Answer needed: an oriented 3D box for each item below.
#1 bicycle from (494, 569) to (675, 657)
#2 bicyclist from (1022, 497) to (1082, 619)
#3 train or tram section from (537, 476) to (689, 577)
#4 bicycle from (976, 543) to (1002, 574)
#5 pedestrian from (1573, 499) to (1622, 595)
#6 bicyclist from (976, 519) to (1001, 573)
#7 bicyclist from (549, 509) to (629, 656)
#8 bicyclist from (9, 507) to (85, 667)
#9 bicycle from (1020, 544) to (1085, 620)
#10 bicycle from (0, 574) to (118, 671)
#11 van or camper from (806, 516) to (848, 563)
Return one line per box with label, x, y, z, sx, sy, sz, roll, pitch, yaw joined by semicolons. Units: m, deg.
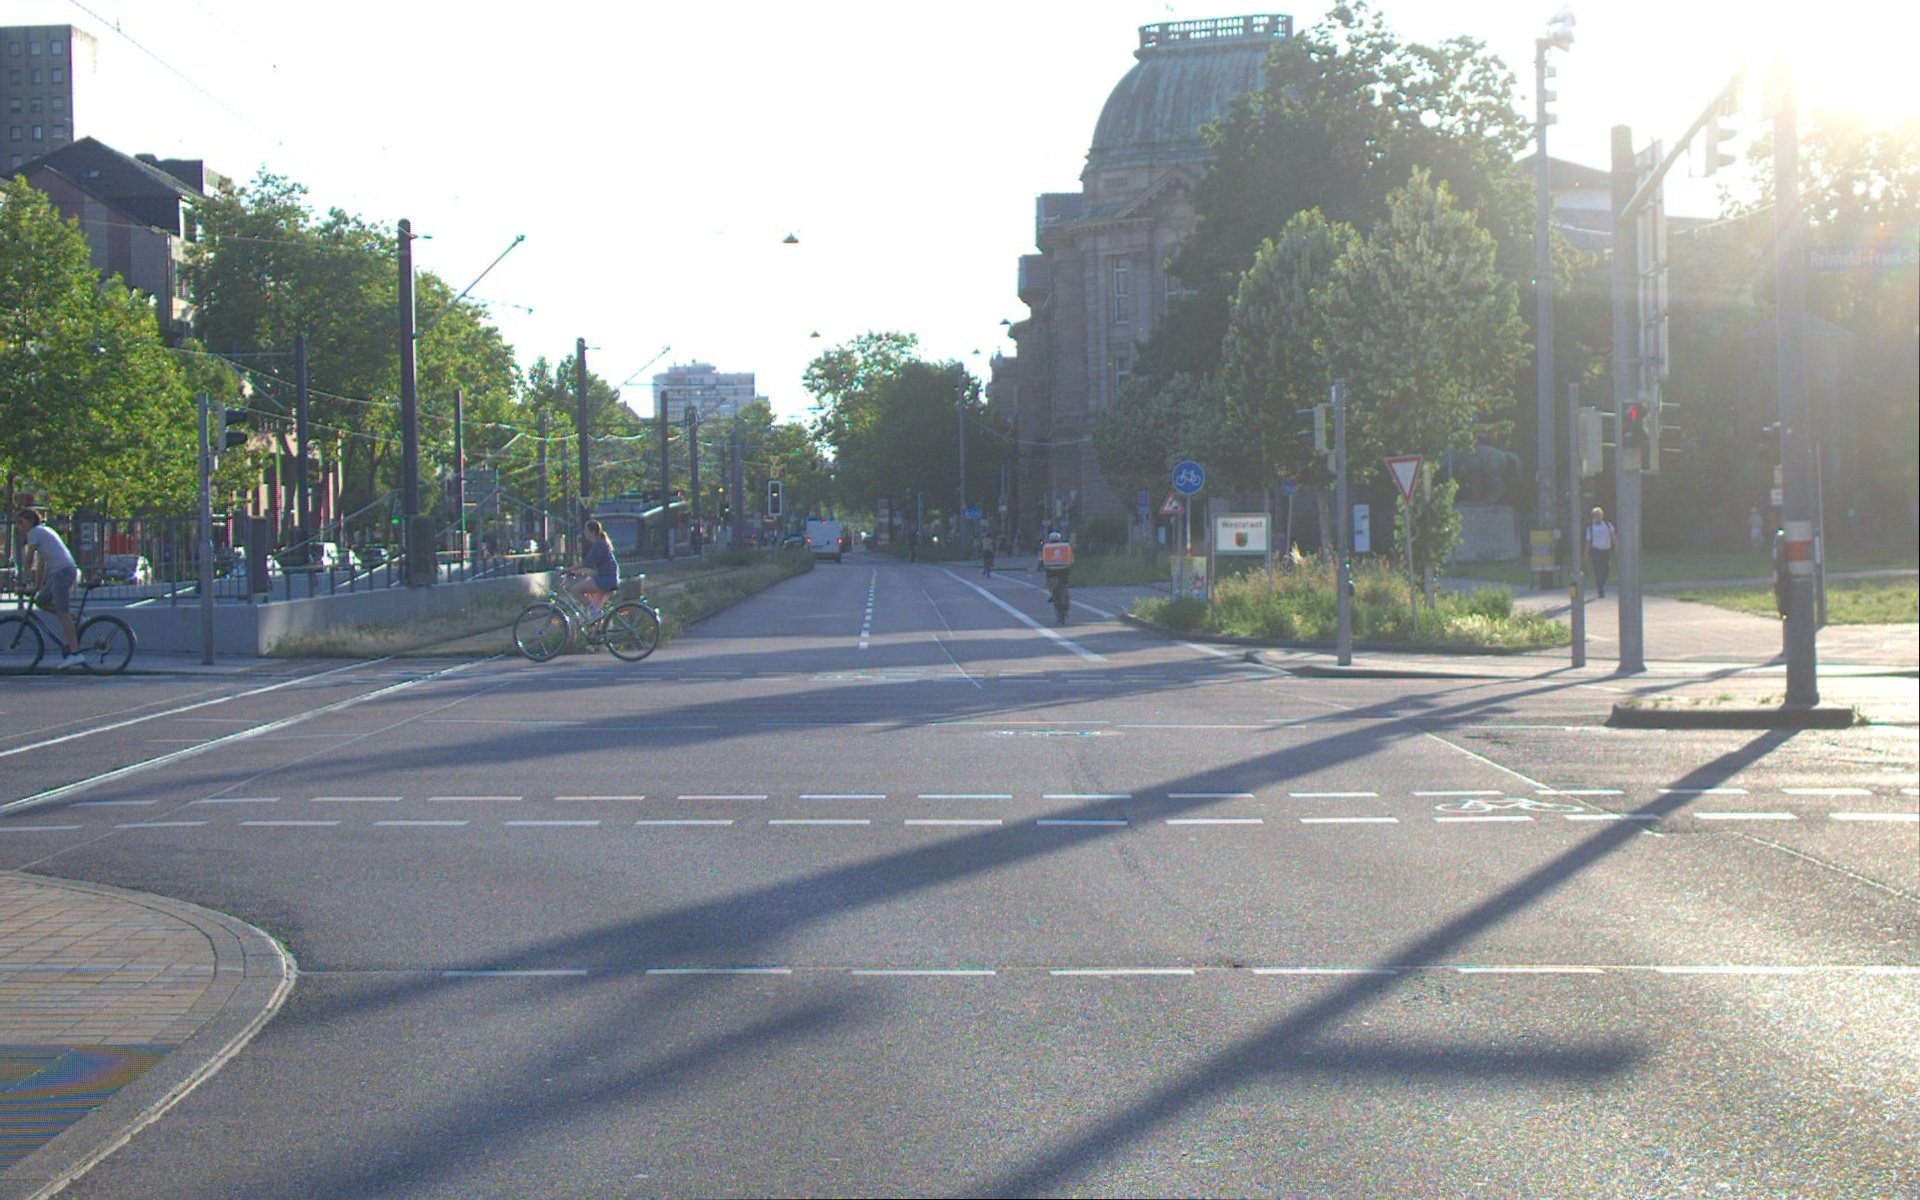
bicycle;-4.670;0.159;42.801;2.164;1.080;0.539;0;0;6
bicyclist;1.735;-0.797;64.890;1.082;2.268;0.986;0;1;-1
train or tram section;-14.497;-3.176;144.895;4.387;3.836;11.410;-1;3;4
bicycle;1.089;-1.558;128.888;0.924;1.108;2.333;-1;1;-1
pedestrian;12.144;-1.013;65.461;0.833;1.797;0.810;-1;1;15
bicyclist;1.069;-2.021;128.969;0.925;2.007;0.850;-1;1;-1
bicyclist;-4.617;-0.218;42.794;0.876;1.812;0.538;-1;1;6
bicyclist;-10.472;-0.157;39.449;0.792;1.812;0.646;-1;1;-13
bicycle;1.737;-0.358;65.004;1.098;1.394;2.832;-1;1;-1
bicycle;-10.643;0.263;39.420;1.900;1.071;0.632;-1;1;-13
van or camper;-7.895;-3.592;204.136;2.449;2.761;5.601;-1;1;-2
